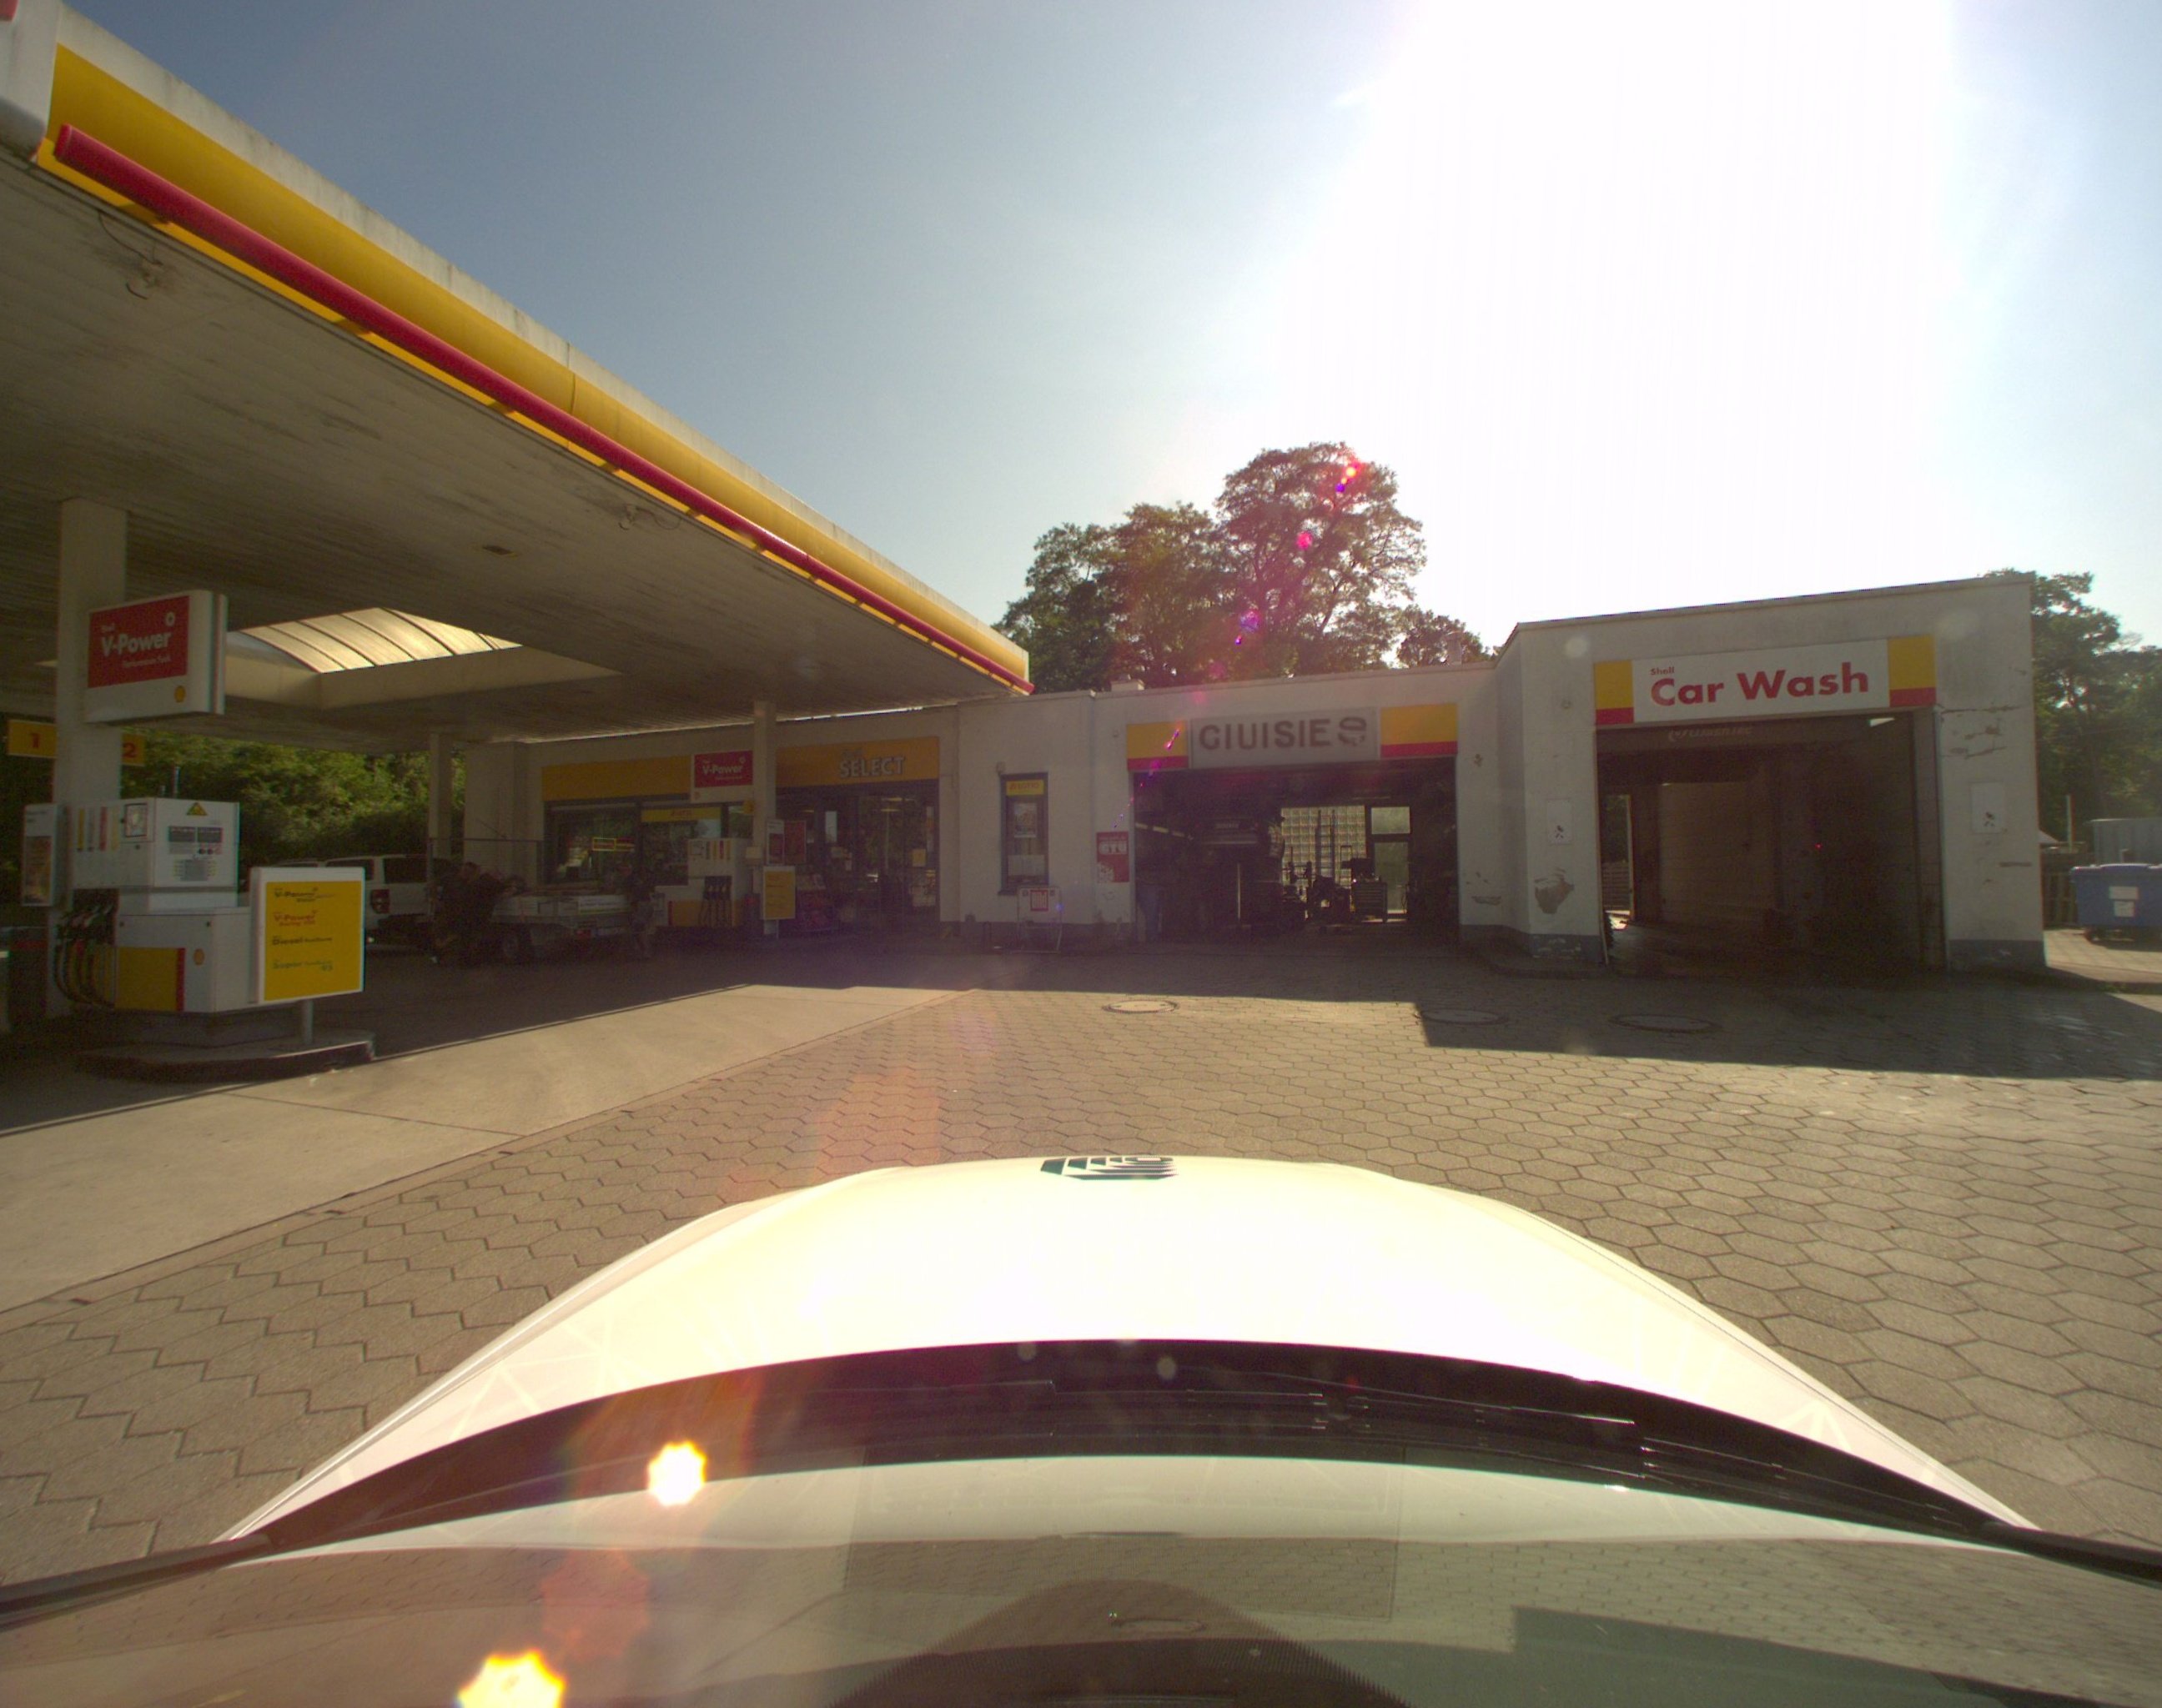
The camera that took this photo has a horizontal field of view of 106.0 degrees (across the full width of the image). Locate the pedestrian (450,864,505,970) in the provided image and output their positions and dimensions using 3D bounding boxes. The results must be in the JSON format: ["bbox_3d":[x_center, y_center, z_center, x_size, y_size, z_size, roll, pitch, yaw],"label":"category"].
[{"bbox_3d":[-9.334,0.958,12.604,0.470,1.593,0.503,-2,-2,22],"label":"pedestrian"}]

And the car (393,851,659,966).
[{"bbox_3d":[-9.453,0.907,13.906,3.952,1.728,1.843,-2,-2,22],"label":"car"}]

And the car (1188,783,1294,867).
[{"bbox_3d":[3.678,-0.538,18.211,1.632,1.486,4.019,-2,-4,20],"label":"car"}]

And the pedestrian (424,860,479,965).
[{"bbox_3d":[-10.044,0.927,13.006,0.470,1.632,0.503,-2,-2,22],"label":"pedestrian"}]

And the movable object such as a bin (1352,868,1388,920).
[{"bbox_3d":[7.099,0.990,20.003,0.790,1.236,0.547,-2,-4,20],"label":"movable object such as a bin"}]

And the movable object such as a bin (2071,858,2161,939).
[{"bbox_3d":[18.058,0.744,13.947,0.851,1.325,1.224,0,-2,-28],"label":"movable object such as a bin"}]

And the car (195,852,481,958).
[{"bbox_3d":[-14.301,0.954,15.727,4.728,1.838,1.865,-1,-2,17],"label":"car"}]

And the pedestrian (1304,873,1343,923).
[{"bbox_3d":[5.964,1.093,20.003,0.856,1.198,0.746,-2,-4,17],"label":"pedestrian"}]

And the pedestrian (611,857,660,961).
[{"bbox_3d":[-7.262,0.886,13.284,0.495,1.668,0.478,-1,-2,20],"label":"pedestrian"}]
